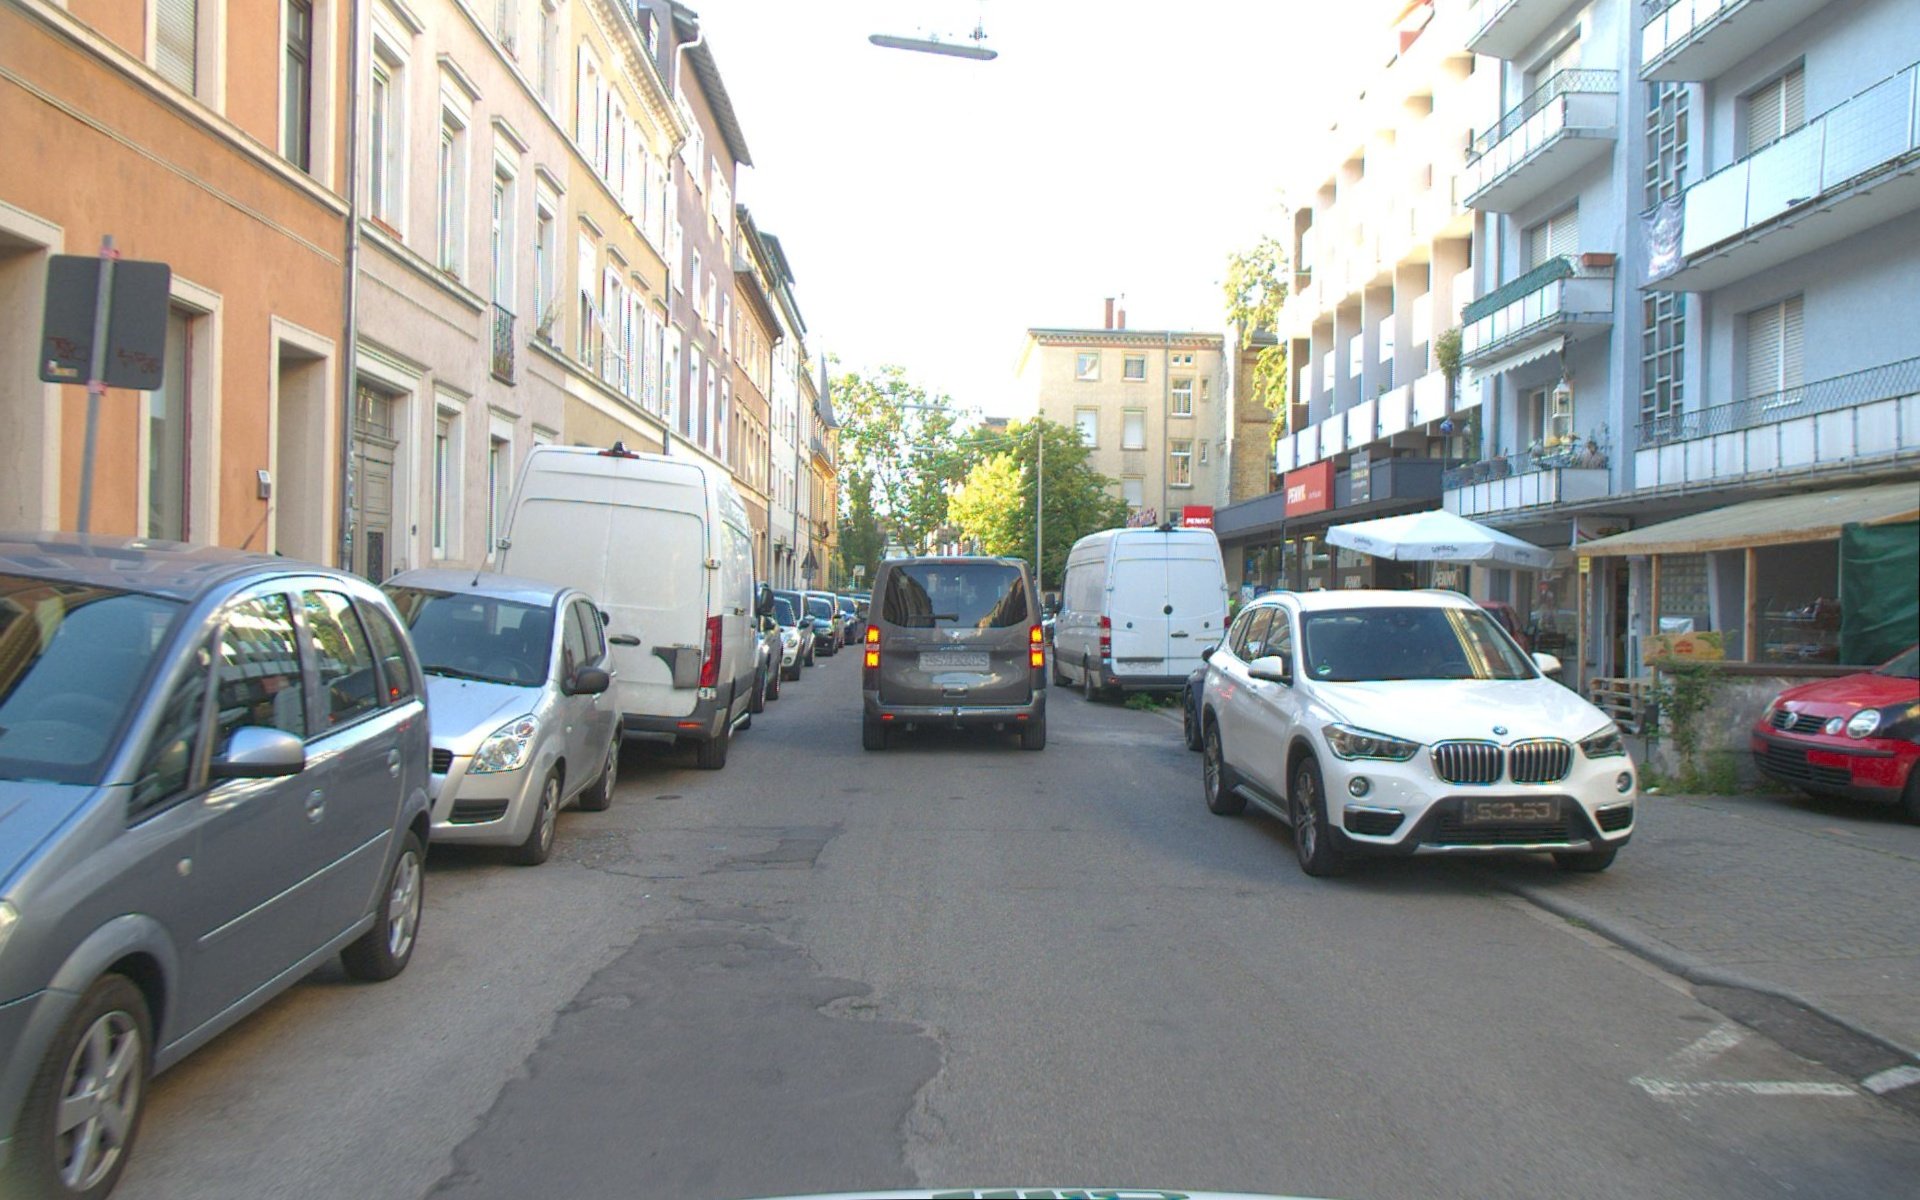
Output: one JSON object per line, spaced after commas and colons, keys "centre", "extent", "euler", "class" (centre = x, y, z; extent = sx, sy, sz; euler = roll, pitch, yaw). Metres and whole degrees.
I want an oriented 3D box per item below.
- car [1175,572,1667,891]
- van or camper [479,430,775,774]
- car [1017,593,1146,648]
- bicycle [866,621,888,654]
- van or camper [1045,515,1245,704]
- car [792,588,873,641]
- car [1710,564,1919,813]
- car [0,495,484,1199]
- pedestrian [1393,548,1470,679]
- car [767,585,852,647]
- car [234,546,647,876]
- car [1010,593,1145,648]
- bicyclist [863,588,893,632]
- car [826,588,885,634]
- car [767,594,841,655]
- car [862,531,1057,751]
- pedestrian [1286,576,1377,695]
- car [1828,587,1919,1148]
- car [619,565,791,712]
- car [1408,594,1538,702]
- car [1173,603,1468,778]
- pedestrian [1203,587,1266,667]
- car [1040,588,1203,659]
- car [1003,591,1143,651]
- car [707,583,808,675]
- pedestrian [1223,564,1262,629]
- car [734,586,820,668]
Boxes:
{"centre": [2.722, 0.698, 10.951], "extent": [1.688, 1.640, 4.585], "euler": [1, 0, -4], "class": "car"}
{"centre": [-3.019, 0.013, 16.599], "extent": [1.910, 2.696, 7.136], "euler": [0, 0, -3], "class": "van or camper"}
{"centre": [4.546, 0.762, 62.329], "extent": [4.485, 1.891, 1.996], "euler": [2, 0, -9], "class": "car"}
{"centre": [-3.017, 1.348, 60.112], "extent": [0.608, 1.158, 2.258], "euler": [0, 0, 2], "class": "bicycle"}
{"centre": [2.799, 0.134, 26.968], "extent": [2.057, 2.648, 7.508], "euler": [0, 0, -3], "class": "van or camper"}
{"centre": [-4.076, 0.458, 53.586], "extent": [1.952, 1.588, 4.587], "euler": [2, 0, 3], "class": "car"}
{"centre": [7.727, 0.661, 11.952], "extent": [3.817, 1.635, 1.693], "euler": [3, 0, -3], "class": "car"}
{"centre": [-2.850, 0.565, 5.089], "extent": [1.677, 1.673, 3.977], "euler": [4, 0, -3], "class": "car"}
{"centre": [7.995, 0.227, 28.064], "extent": [0.859, 2.182, 0.951], "euler": [1, 0, -18], "class": "pedestrian"}
{"centre": [-4.279, 0.427, 47.678], "extent": [1.952, 1.633, 4.585], "euler": [2, 0, 0], "class": "car"}
{"centre": [-3.106, 0.589, 10.627], "extent": [1.558, 1.715, 3.651], "euler": [2, 0, -2], "class": "car"}
{"centre": [4.218, 0.732, 59.612], "extent": [4.485, 1.823, 1.996], "euler": [2, 0, -9], "class": "car"}
{"centre": [-3.003, 0.368, 60.521], "extent": [1.013, 1.605, 0.833], "euler": [0, 0, 3], "class": "bicyclist"}
{"centre": [-3.980, 0.391, 62.625], "extent": [2.102, 1.588, 4.580], "euler": [2, 0, -4], "class": "car"}
{"centre": [-3.983, 0.587, 42.773], "extent": [1.753, 1.422, 4.463], "euler": [2, 0, -4], "class": "car"}
{"centre": [-0.072, 0.376, 17.574], "extent": [1.820, 2.049, 3.998], "euler": [-1, 0, -2], "class": "car"}
{"centre": [5.093, 0.471, 22.674], "extent": [0.859, 1.583, 0.869], "euler": [-1, 0, -23], "class": "pedestrian"}
{"centre": [3.401, 0.714, 2.839], "extent": [1.587, 1.512, 4.123], "euler": [-1, 0, -1], "class": "car"}
{"centre": [-3.402, 0.471, 22.782], "extent": [1.826, 1.781, 4.291], "euler": [2, 0, -3], "class": "car"}
{"centre": [7.524, 0.652, 24.103], "extent": [1.567, 1.441, 3.229], "euler": [0, 0, 21], "class": "car"}
{"centre": [3.270, 0.752, 15.848], "extent": [1.688, 1.412, 4.292], "euler": [0, 0, -3], "class": "car"}
{"centre": [6.122, 0.600, 36.926], "extent": [0.925, 1.750, 1.050], "euler": [0, 0, -35], "class": "pedestrian"}
{"centre": [4.677, 0.671, 48.448], "extent": [4.478, 1.891, 1.999], "euler": [2, 0, -3], "class": "car"}
{"centre": [3.813, 0.695, 56.057], "extent": [4.390, 1.891, 1.881], "euler": [2, 0, -9], "class": "car"}
{"centre": [-3.661, 0.494, 30.347], "extent": [1.678, 1.523, 3.851], "euler": [2, 0, -6], "class": "car"}
{"centre": [8.796, -0.107, 51.454], "extent": [1.063, 1.979, 0.872], "euler": [1, 0, 16], "class": "pedestrian"}
{"centre": [-3.718, 0.531, 33.896], "extent": [1.357, 1.559, 2.749], "euler": [2, 0, 1], "class": "car"}
